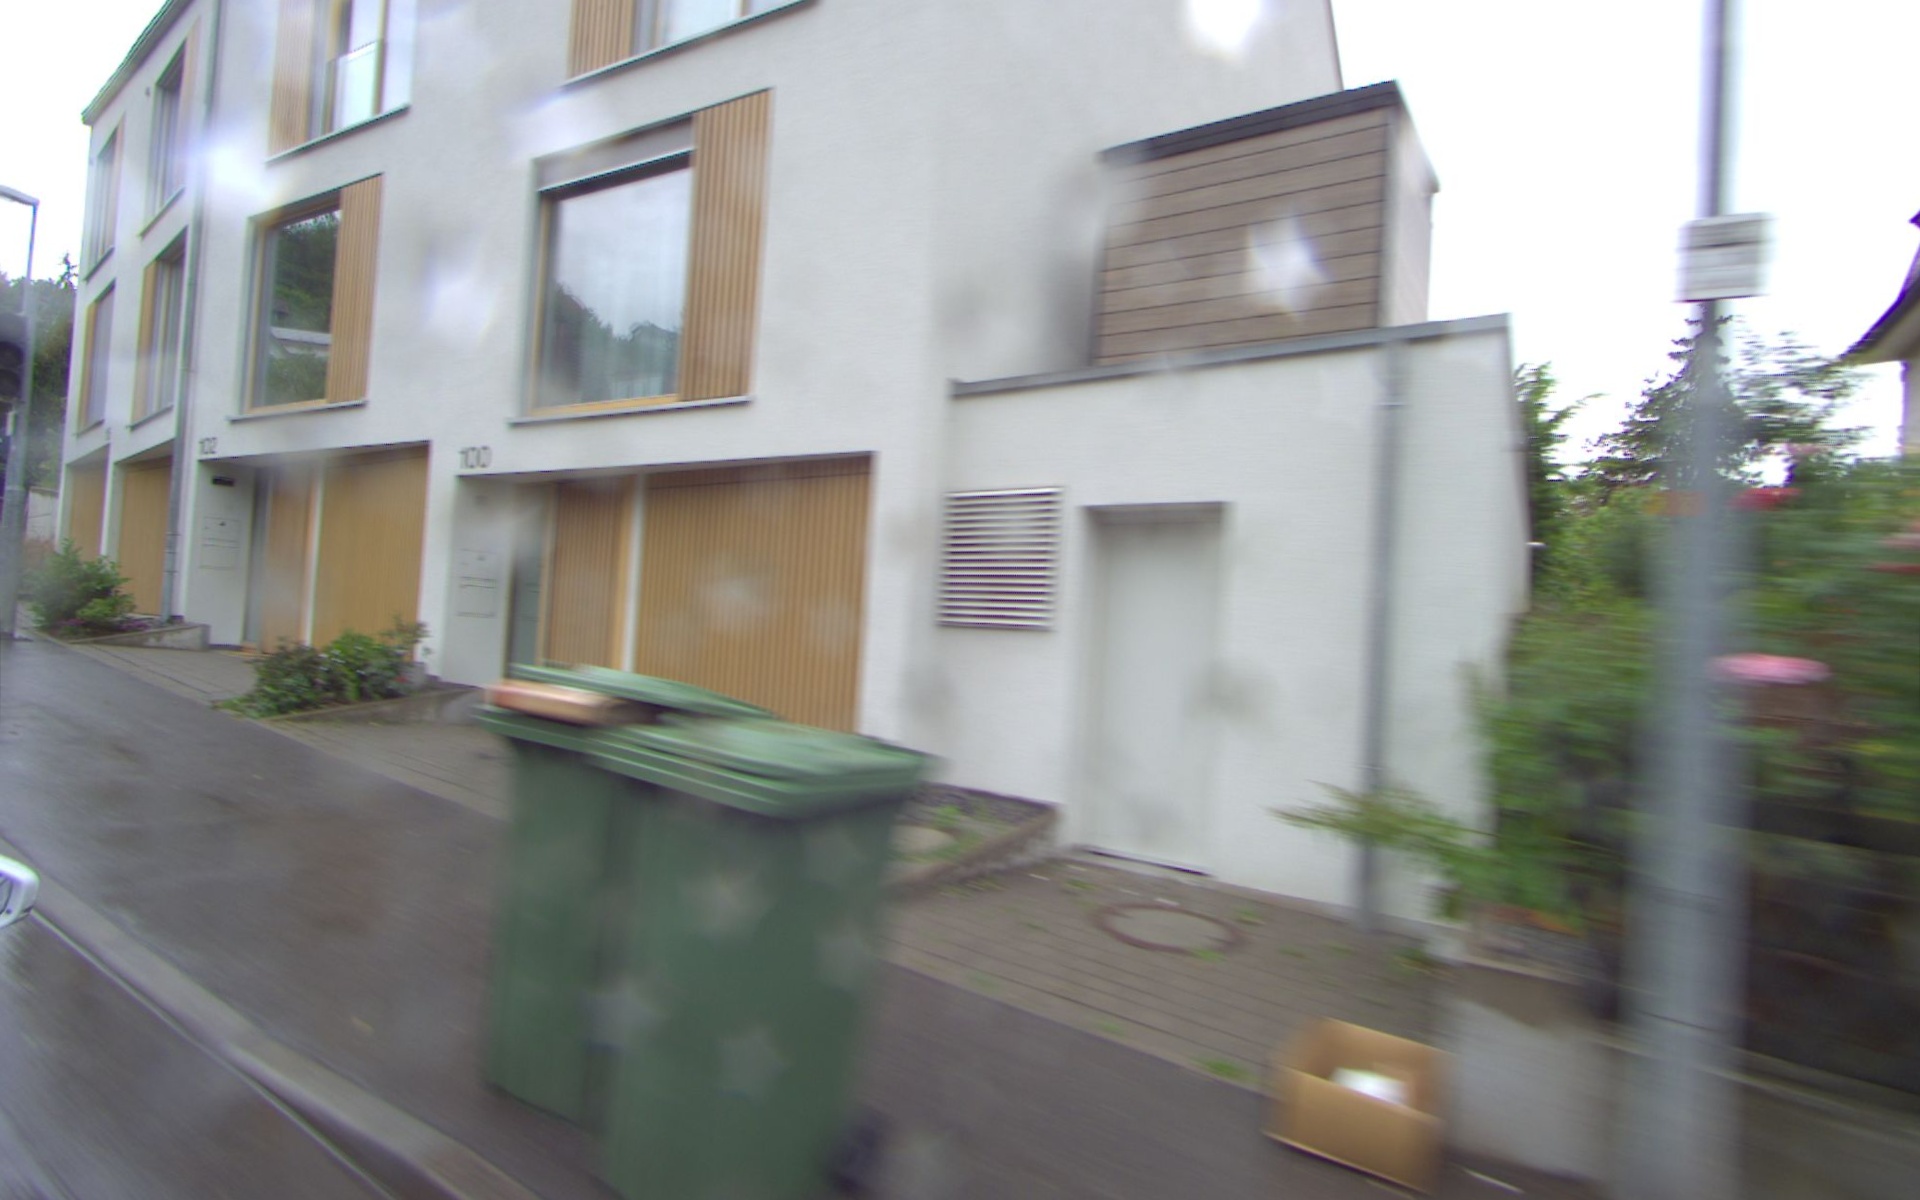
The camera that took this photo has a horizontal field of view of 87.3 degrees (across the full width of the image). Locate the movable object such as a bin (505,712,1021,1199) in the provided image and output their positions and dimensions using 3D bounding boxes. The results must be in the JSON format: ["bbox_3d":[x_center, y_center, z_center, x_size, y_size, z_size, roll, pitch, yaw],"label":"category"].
[{"bbox_3d":[-0.434,0.860,2.427,0.737,1.073,0.837,7,-1,32],"label":"movable object such as a bin"}]

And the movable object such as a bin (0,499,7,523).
[{"bbox_3d":[-40.487,-3.755,42.169,0.493,0.991,0.489,7,1,-8],"label":"movable object such as a bin"}]
